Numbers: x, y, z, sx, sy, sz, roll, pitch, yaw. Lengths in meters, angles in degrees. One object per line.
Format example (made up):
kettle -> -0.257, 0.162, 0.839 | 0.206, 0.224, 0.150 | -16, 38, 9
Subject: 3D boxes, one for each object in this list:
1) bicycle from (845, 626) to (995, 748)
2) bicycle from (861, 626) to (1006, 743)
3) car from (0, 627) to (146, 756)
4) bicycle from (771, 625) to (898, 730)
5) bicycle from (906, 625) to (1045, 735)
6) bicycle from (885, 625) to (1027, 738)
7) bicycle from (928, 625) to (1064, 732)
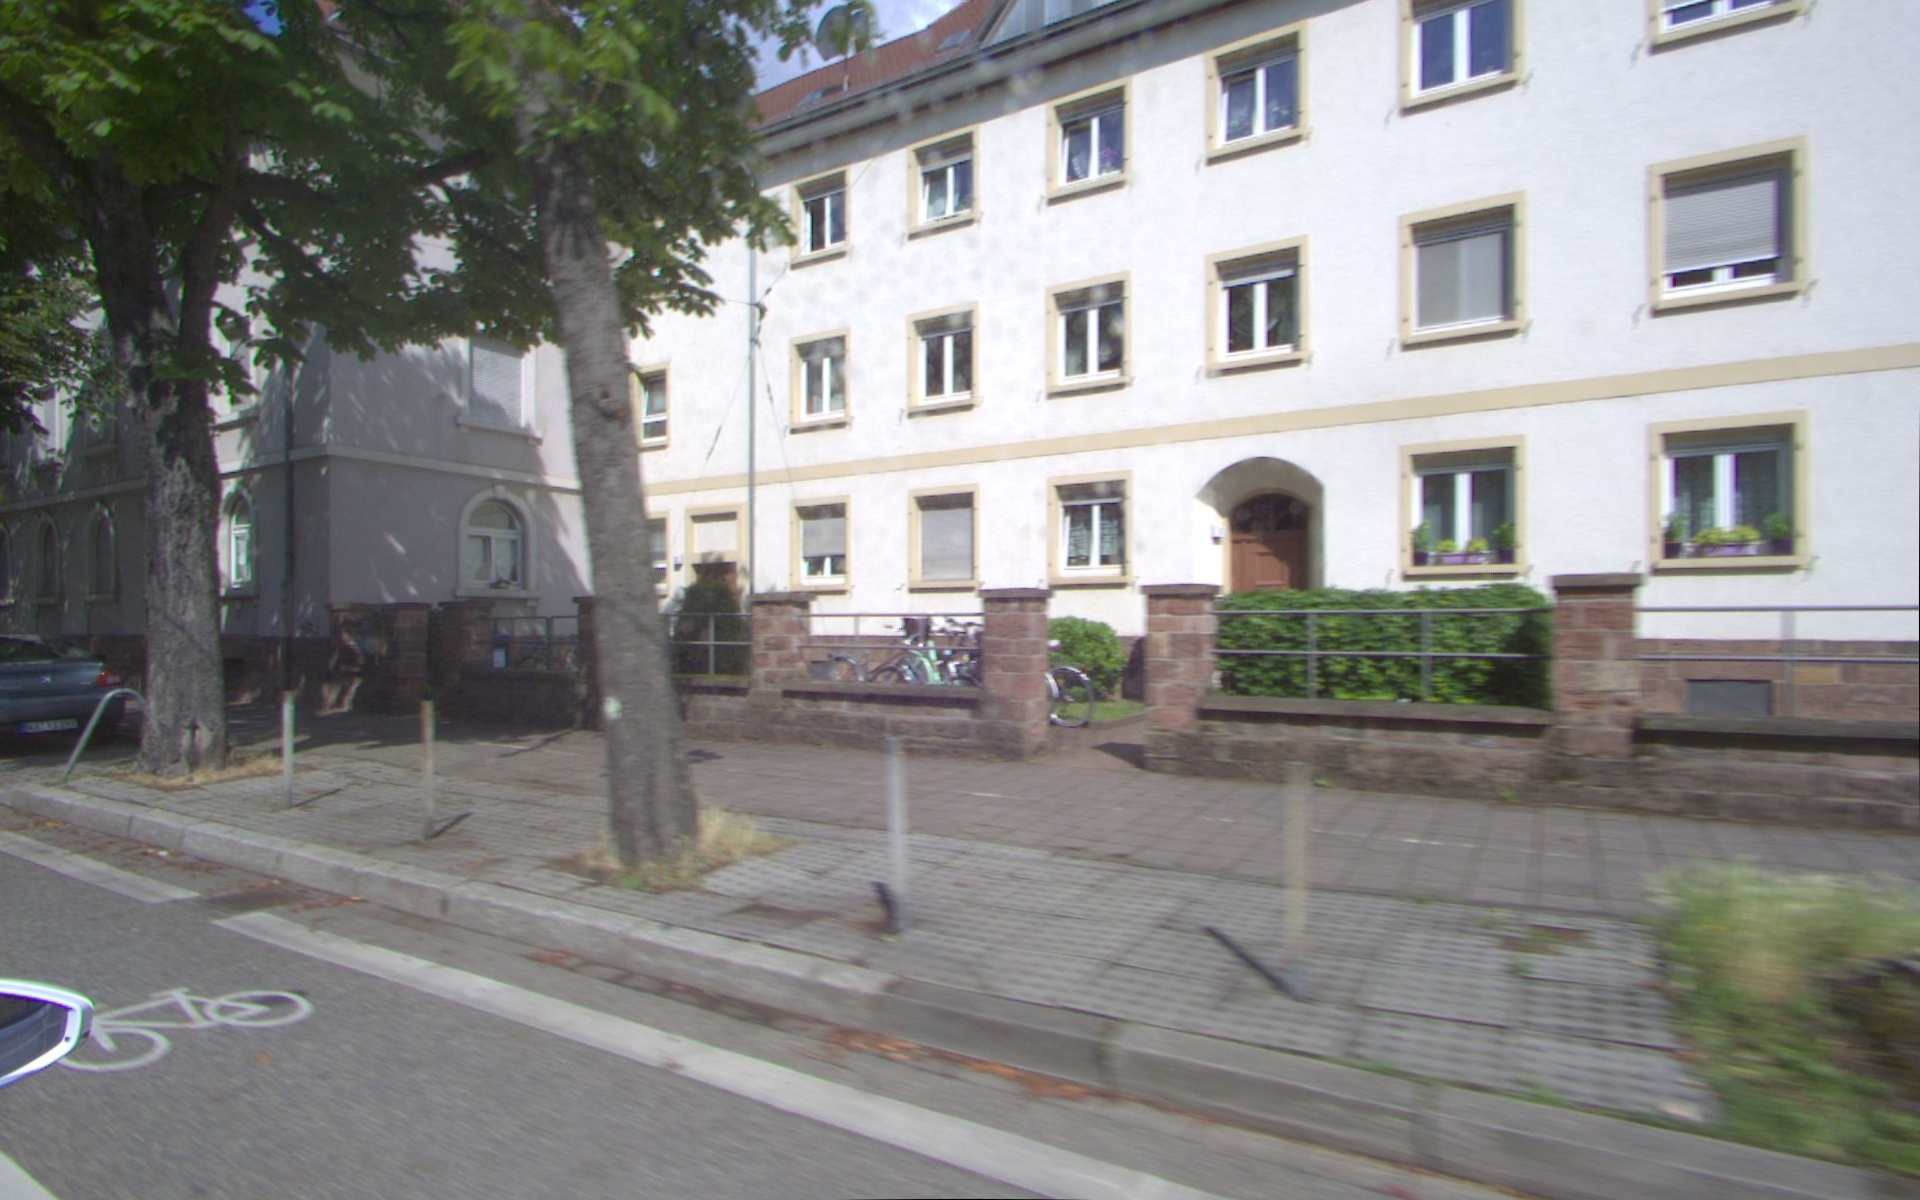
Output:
bicycle -> -0.447, 0.892, 10.717 | 1.679, 1.227, 0.411 | -1, -1, 32
bicycle -> -0.316, 0.903, 11.131 | 1.679, 1.227, 0.411 | -1, -1, 32
car -> -12.612, 1.103, 12.862 | 4.328, 1.428, 1.844 | -1, 0, 29
bicycle -> -1.568, 0.925, 12.374 | 1.679, 1.227, 0.411 | -1, -1, 32
bicycle -> 0.165, 0.916, 11.851 | 1.679, 1.227, 0.411 | -1, -1, 32
bicycle -> -0.066, 0.899, 11.507 | 1.679, 1.227, 0.411 | -1, -1, 32
bicycle -> 0.422, 0.921, 12.188 | 1.679, 1.227, 0.411 | -1, -1, 32
